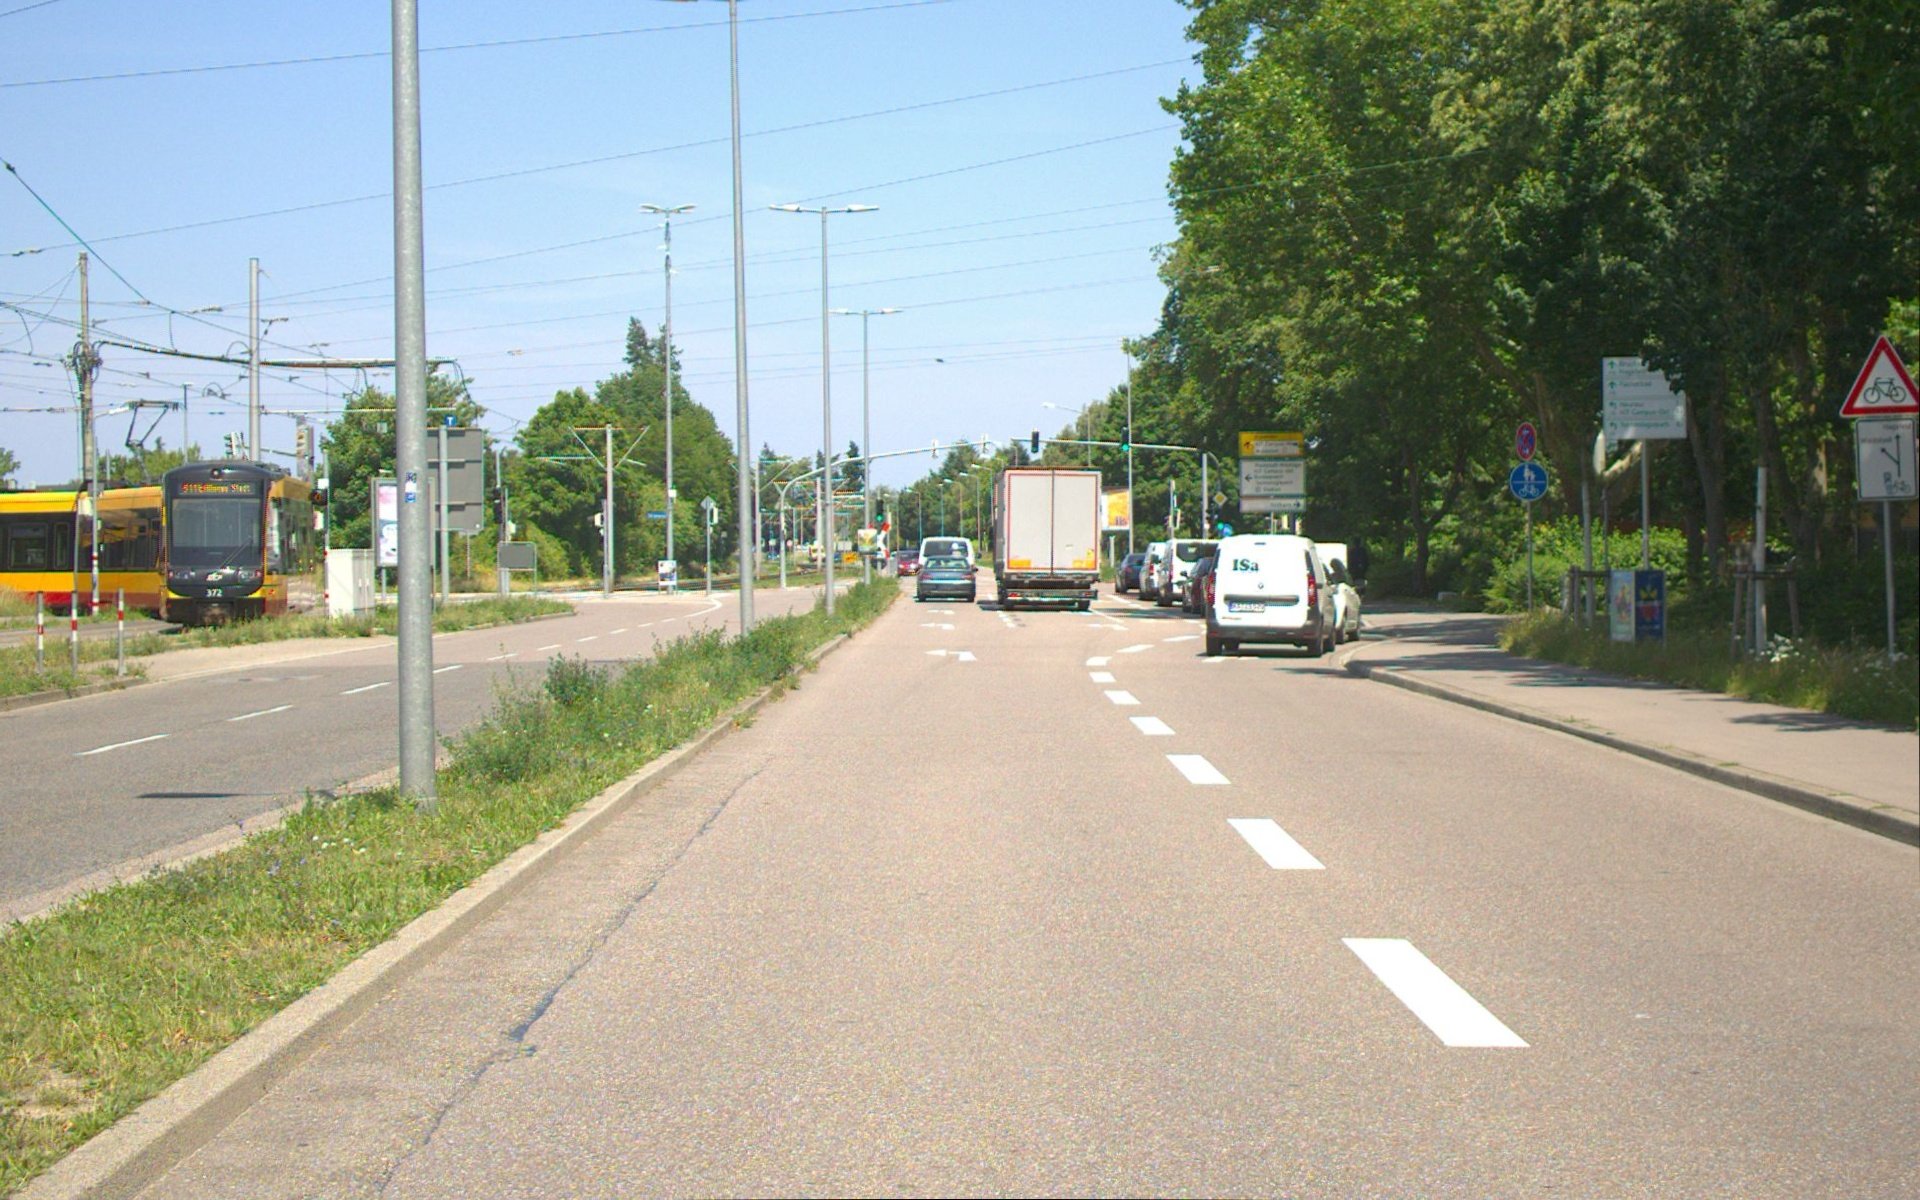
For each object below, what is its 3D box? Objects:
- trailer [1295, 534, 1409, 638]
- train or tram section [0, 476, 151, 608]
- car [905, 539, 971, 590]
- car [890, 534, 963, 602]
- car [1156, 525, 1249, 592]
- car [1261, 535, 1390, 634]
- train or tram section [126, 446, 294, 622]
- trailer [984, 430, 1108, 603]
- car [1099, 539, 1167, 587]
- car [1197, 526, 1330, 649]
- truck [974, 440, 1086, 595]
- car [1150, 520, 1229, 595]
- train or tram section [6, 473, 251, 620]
[{"bbox_3d":[6.526,-0.250,57.437,1.468,1.663,2.856,1,1,-2],"label":"trailer"},{"bbox_3d":[-27.838,-1.687,95.106,12.736,3.454,3.040,2,1,36],"label":"train or tram section"},{"bbox_3d":[-0.689,-1.068,104.365,1.892,1.367,4.430,2,-1,-1],"label":"car"},{"bbox_3d":[-1.102,-1.056,111.356,1.993,2.103,4.749,0,2,-5],"label":"car"},{"bbox_3d":[5.818,-1.007,82.948,1.858,1.544,3.887,1,1,-1],"label":"car"},{"bbox_3d":[6.458,-0.308,61.112,1.699,1.648,4.399,1,1,-1],"label":"car"},{"bbox_3d":[-16.531,-1.460,75.072,3.035,3.454,13.297,1,1,-14],"label":"train or tram section"},{"bbox_3d":[2.256,-2.244,93.116,2.827,4.406,8.750,1,1,-2],"label":"trailer"},{"bbox_3d":[5.494,-1.184,109.776,1.993,1.432,4.251,0,2,1],"label":"car"},{"bbox_3d":[4.526,-0.220,51.737,1.709,1.741,4.427,1,1,2],"label":"car"},{"bbox_3d":[2.004,-2.462,101.591,2.827,4.329,8.285,2,2,-1],"label":"truck"},{"bbox_3d":[6.664,-1.254,100.138,1.890,2.114,3.887,1,1,-1],"label":"car"},{"bbox_3d":[-20.998,-1.398,86.307,3.036,3.454,10.225,0,1,-31],"label":"train or tram section"}]
